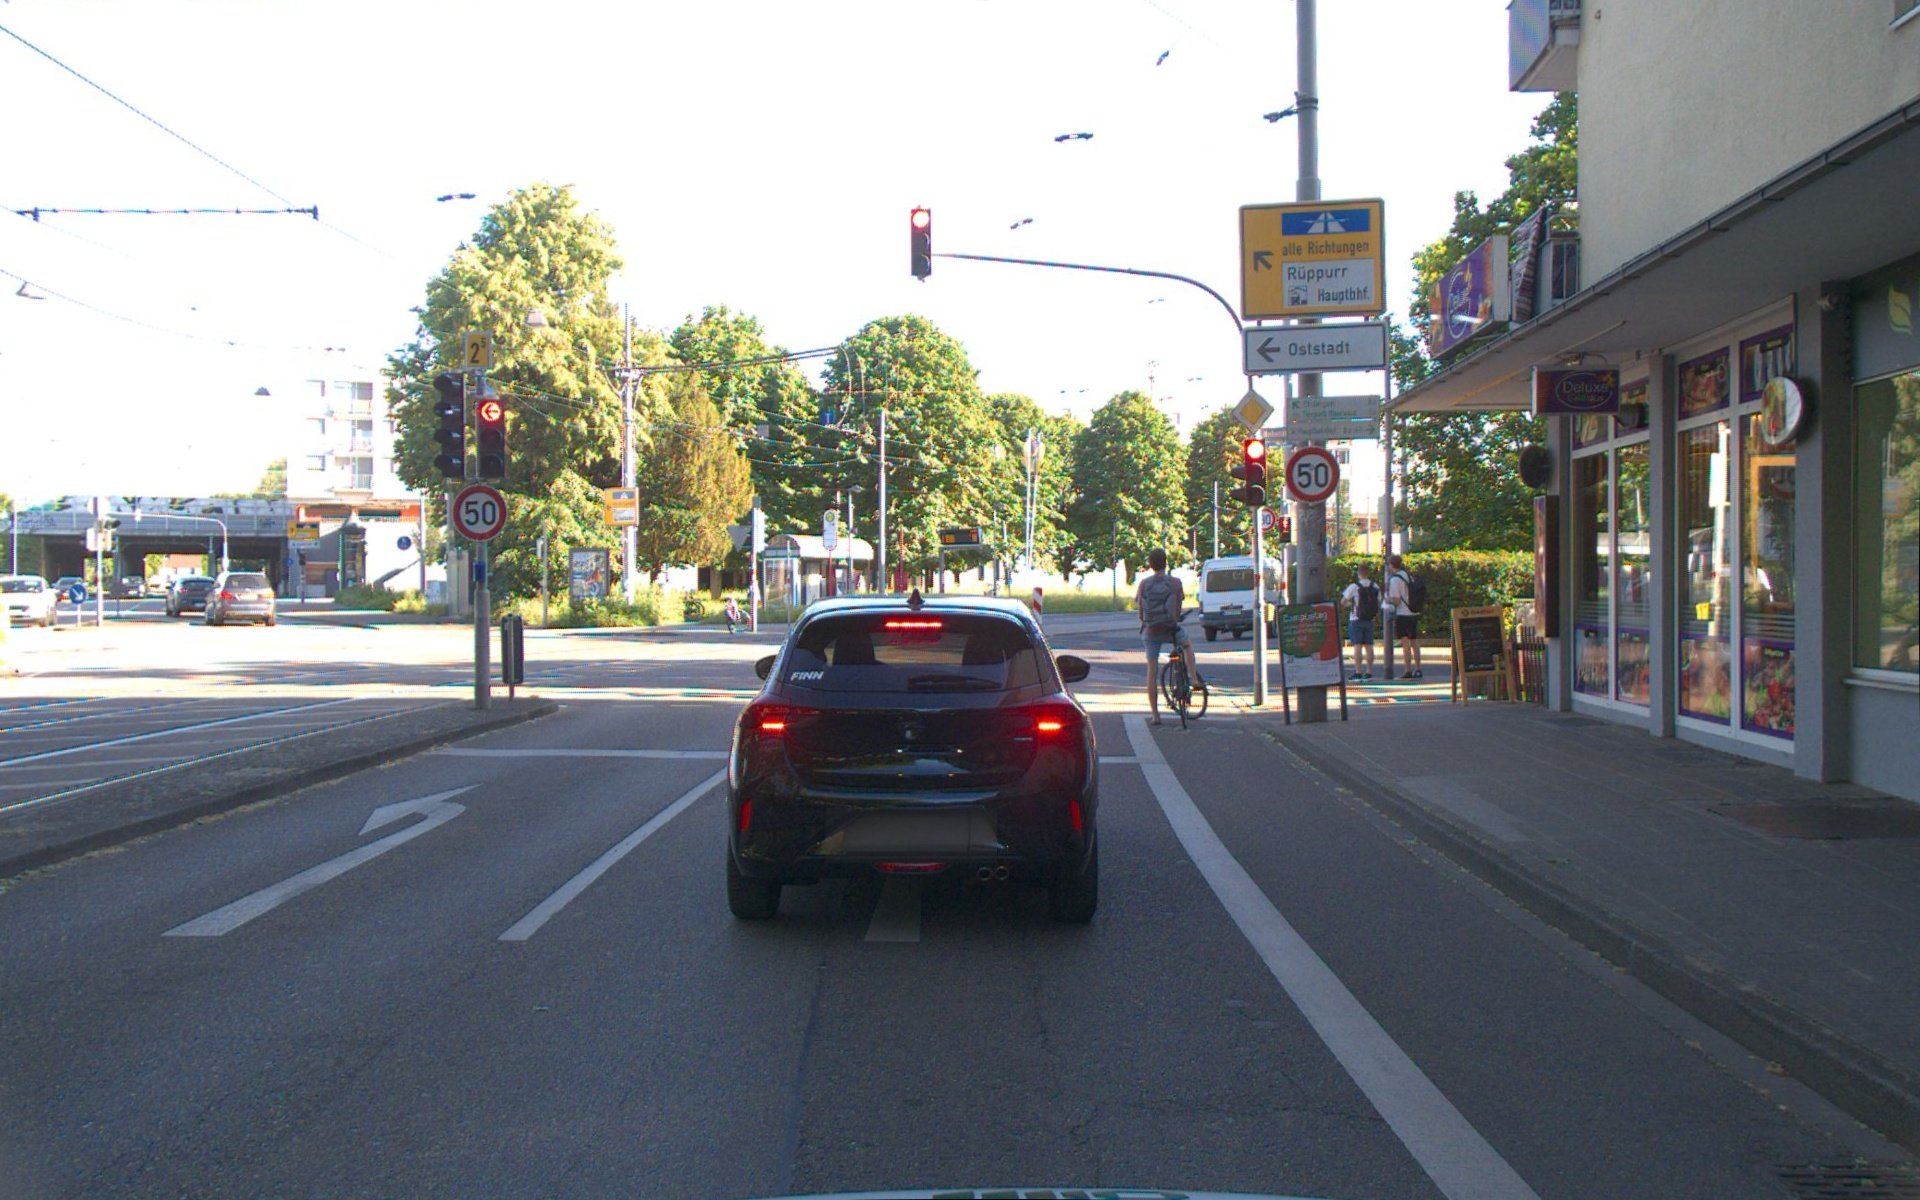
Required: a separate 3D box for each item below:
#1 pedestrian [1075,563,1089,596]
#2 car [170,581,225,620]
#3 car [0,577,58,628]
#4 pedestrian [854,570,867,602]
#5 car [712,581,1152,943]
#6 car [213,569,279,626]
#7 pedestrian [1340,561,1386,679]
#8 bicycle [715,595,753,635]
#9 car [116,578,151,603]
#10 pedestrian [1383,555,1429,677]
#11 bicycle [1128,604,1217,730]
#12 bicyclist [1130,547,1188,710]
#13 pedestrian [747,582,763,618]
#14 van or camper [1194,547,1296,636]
[{"bbox_3d":[6.978,-1.164,94.771,0.510,1.904,0.602,0,-1,42],"label":"pedestrian"},{"bbox_3d":[-31.551,0.009,68.375,1.777,1.545,4.167,1,0,-28],"label":"car"},{"bbox_3d":[-31.174,0.065,54.855,1.860,1.613,3.809,1,0,-24],"label":"car"},{"bbox_3d":[-5.972,-0.819,99.729,0.723,1.904,0.661,1,-1,-7],"label":"pedestrian"},{"bbox_3d":[-0.140,0.647,8.796,1.803,1.487,3.983,0,1,-1],"label":"car"},{"bbox_3d":[-24.913,-0.110,57.630,1.885,1.914,4.806,-1,1,-26],"label":"car"},{"bbox_3d":[6.237,0.311,25.595,0.620,1.794,0.582,1,-1,19],"label":"pedestrian"},{"bbox_3d":[-6.300,0.401,46.235,0.780,1.083,2.184,0,1,-1],"label":"bicycle"},{"bbox_3d":[-55.797,-0.655,111.669,1.860,1.613,3.809,1,0,-24],"label":"car"},{"bbox_3d":[6.911,0.250,25.609,0.620,1.852,0.745,1,-1,19],"label":"pedestrian"},{"bbox_3d":[2.336,0.688,17.981,0.737,1.256,2.017,0,1,14],"label":"bicycle"},{"bbox_3d":[2.146,0.294,17.789,0.522,1.722,0.568,0,0,16],"label":"bicyclist"},{"bbox_3d":[-8.706,-0.004,70.195,0.558,1.498,0.666,0,0,4],"label":"pedestrian"},{"bbox_3d":[8.051,-0.224,46.352,1.987,2.351,4.540,1,0,20],"label":"van or camper"}]
